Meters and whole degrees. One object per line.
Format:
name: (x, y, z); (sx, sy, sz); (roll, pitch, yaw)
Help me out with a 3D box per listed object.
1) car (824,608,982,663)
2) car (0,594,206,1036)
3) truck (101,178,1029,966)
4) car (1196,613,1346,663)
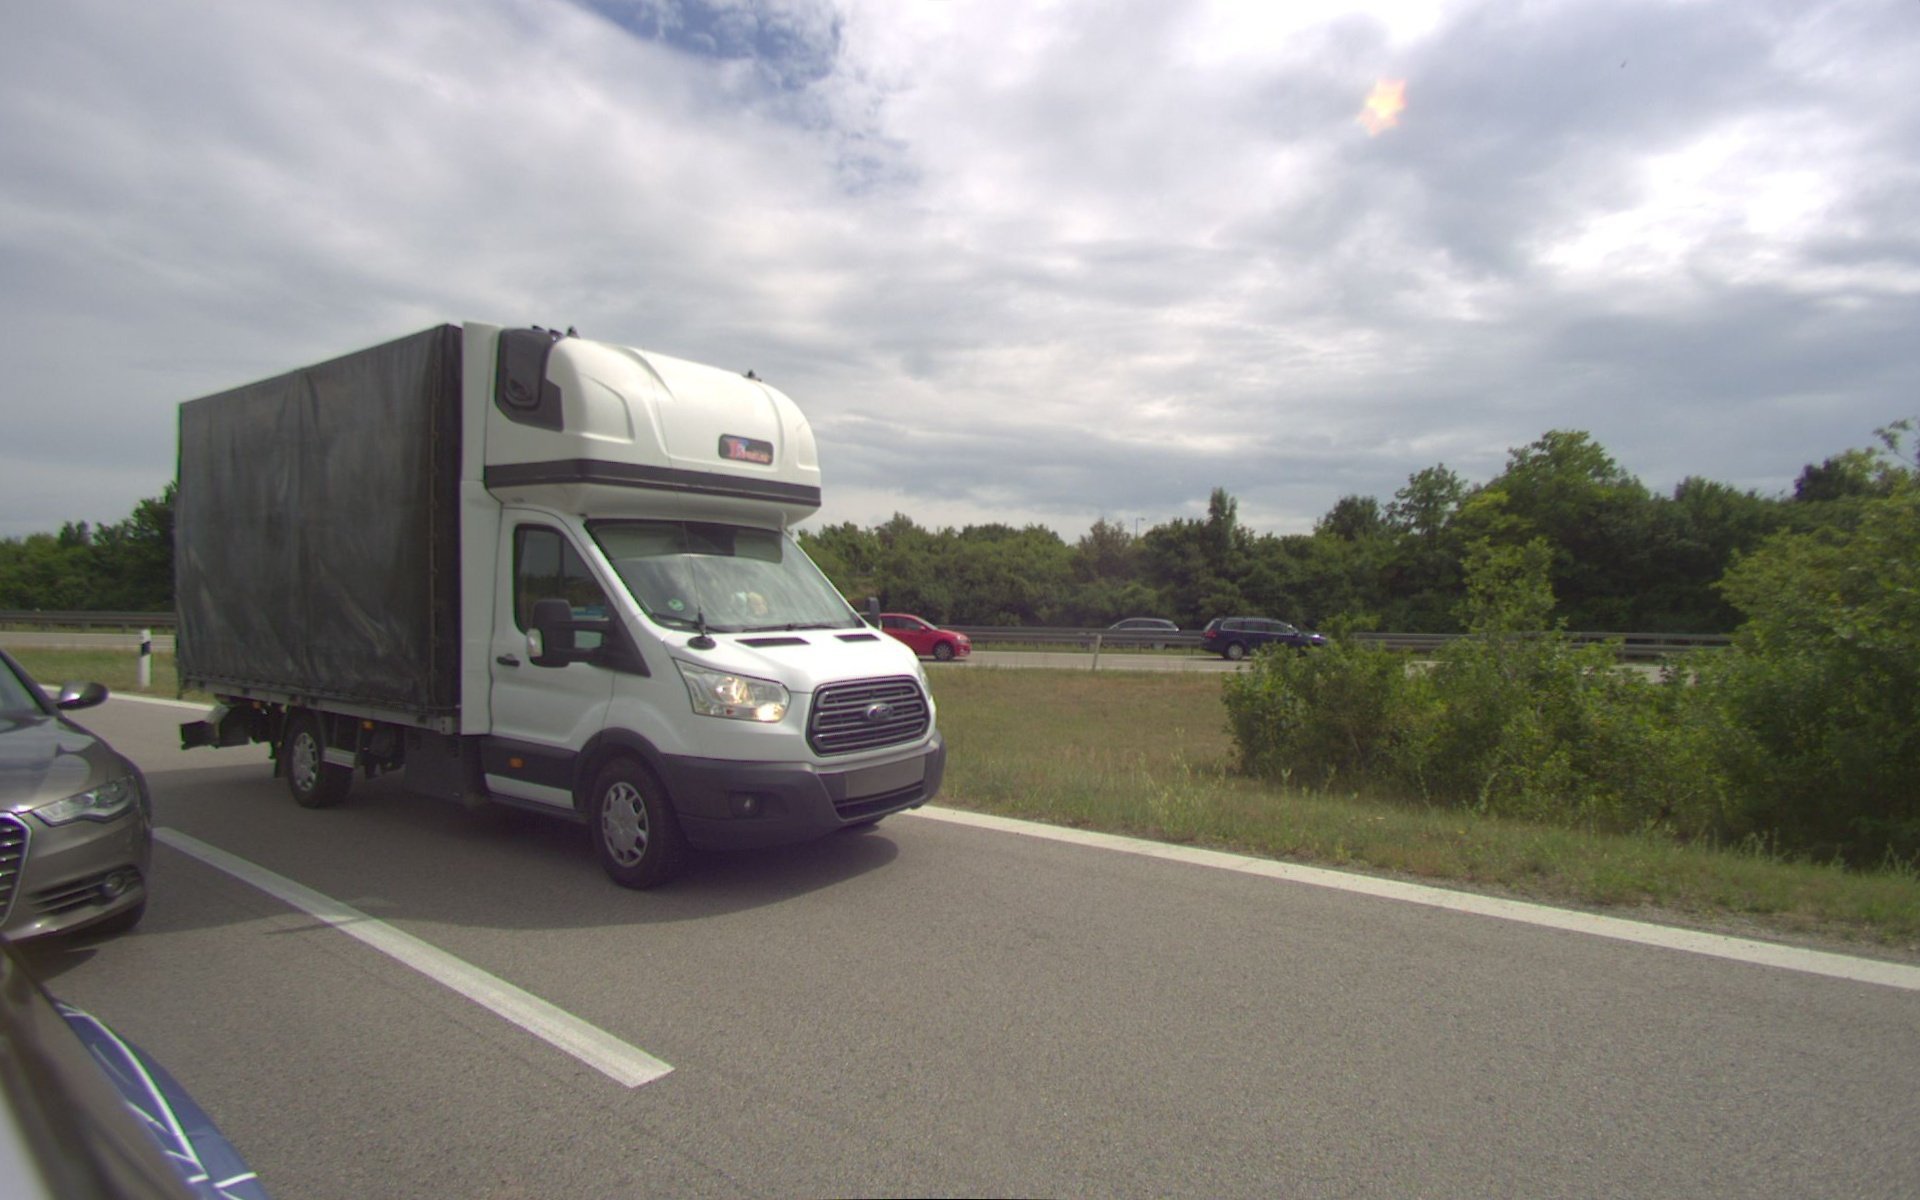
car: (-1.786, 1.113, 32.603); (4.754, 1.614, 1.995); (1, 0, 9)
car: (-5.312, 0.773, 4.658); (4.535, 1.526, 1.973); (-1, -1, 40)
truck: (-3.356, -0.084, 7.297); (7.451, 3.191, 2.538); (-1, 0, 35)
car: (10.777, 1.300, 35.331); (4.669, 1.611, 1.997); (1, -1, 5)
